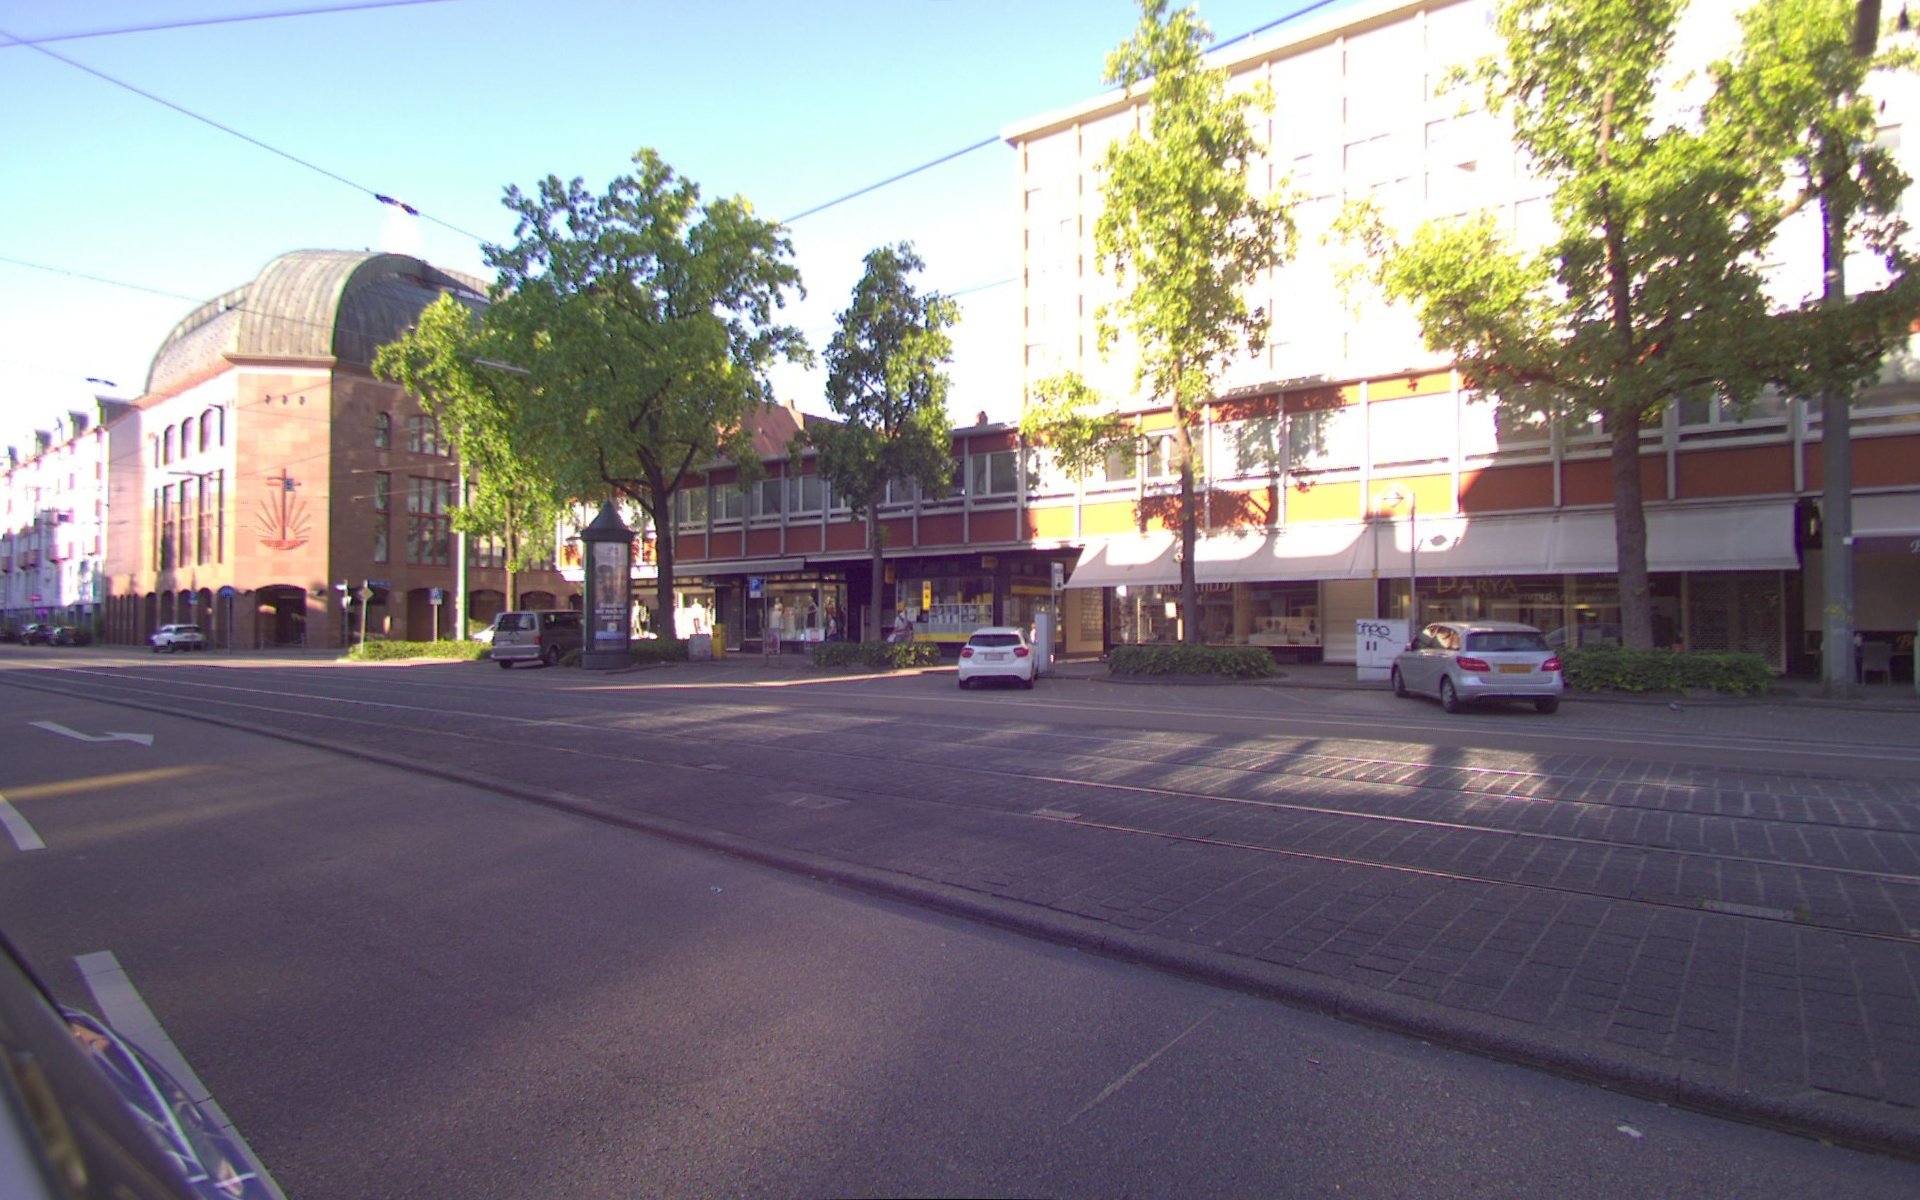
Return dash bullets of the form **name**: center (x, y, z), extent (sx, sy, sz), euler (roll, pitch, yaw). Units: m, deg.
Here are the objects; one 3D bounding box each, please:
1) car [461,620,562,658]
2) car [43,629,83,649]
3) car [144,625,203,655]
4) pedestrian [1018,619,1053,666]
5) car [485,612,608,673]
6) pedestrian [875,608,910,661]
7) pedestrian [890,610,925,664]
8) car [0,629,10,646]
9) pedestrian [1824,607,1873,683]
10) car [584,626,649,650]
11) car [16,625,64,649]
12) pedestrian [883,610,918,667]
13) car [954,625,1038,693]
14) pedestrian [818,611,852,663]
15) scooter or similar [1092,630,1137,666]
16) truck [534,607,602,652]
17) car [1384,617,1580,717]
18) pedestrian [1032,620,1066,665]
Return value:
- **car**: center (-25.889, 2.215, 58.577), extent (2.128, 1.982, 4.934), euler (2, 0, 36)
- **car**: center (-66.374, 2.899, 74.890), extent (3.679, 1.411, 1.626), euler (-1, -1, 39)
- **car**: center (-45.326, 2.280, 58.286), extent (4.269, 1.602, 1.581), euler (-1, 0, 36)
- **pedestrian**: center (2.435, 1.375, 32.751), extent (0.898, 1.509, 0.681), euler (-1, -2, 36)
- **car**: center (-14.529, 1.436, 35.921), extent (1.831, 1.943, 5.112), euler (0, 0, 6)
- **pedestrian**: center (-2.519, 1.294, 37.992), extent (0.898, 1.963, 0.984), euler (-1, -2, 36)
- **pedestrian**: center (-1.877, 1.325, 36.219), extent (0.898, 1.892, 0.908), euler (-1, -2, 34)
- **car**: center (-86.693, 3.356, 90.557), extent (4.555, 1.520, 1.807), euler (-1, -1, 38)
- **pedestrian**: center (18.977, 0.947, 21.632), extent (0.705, 1.575, 0.864), euler (-2, -2, 38)
- **car**: center (-23.395, 2.565, 68.787), extent (4.519, 1.585, 1.835), euler (-1, -2, 34)
- **car**: center (-71.681, 2.867, 78.832), extent (4.552, 1.713, 1.941), euler (-1, -1, 37)
- **pedestrian**: center (-2.031, 1.301, 34.518), extent (0.903, 1.892, 0.903), euler (1, -2, -24)
- **car**: center (0.982, 1.396, 25.241), extent (1.745, 1.440, 4.261), euler (-1, 0, 7)
- **pedestrian**: center (-4.648, 1.375, 37.752), extent (0.898, 1.892, 0.908), euler (-1, -2, 36)
- **scooter or similar**: center (4.910, 1.520, 32.250), extent (1.335, 1.102, 0.470), euler (-1, -1, 36)
- **truck**: center (-25.538, 1.922, 65.879), extent (4.519, 2.784, 1.835), euler (-1, -2, 34)
- **car**: center (9.449, 1.136, 18.740), extent (1.805, 1.578, 4.271), euler (0, 0, 7)
- **pedestrian**: center (2.916, 1.389, 33.298), extent (0.898, 1.481, 0.681), euler (-1, -2, 36)
